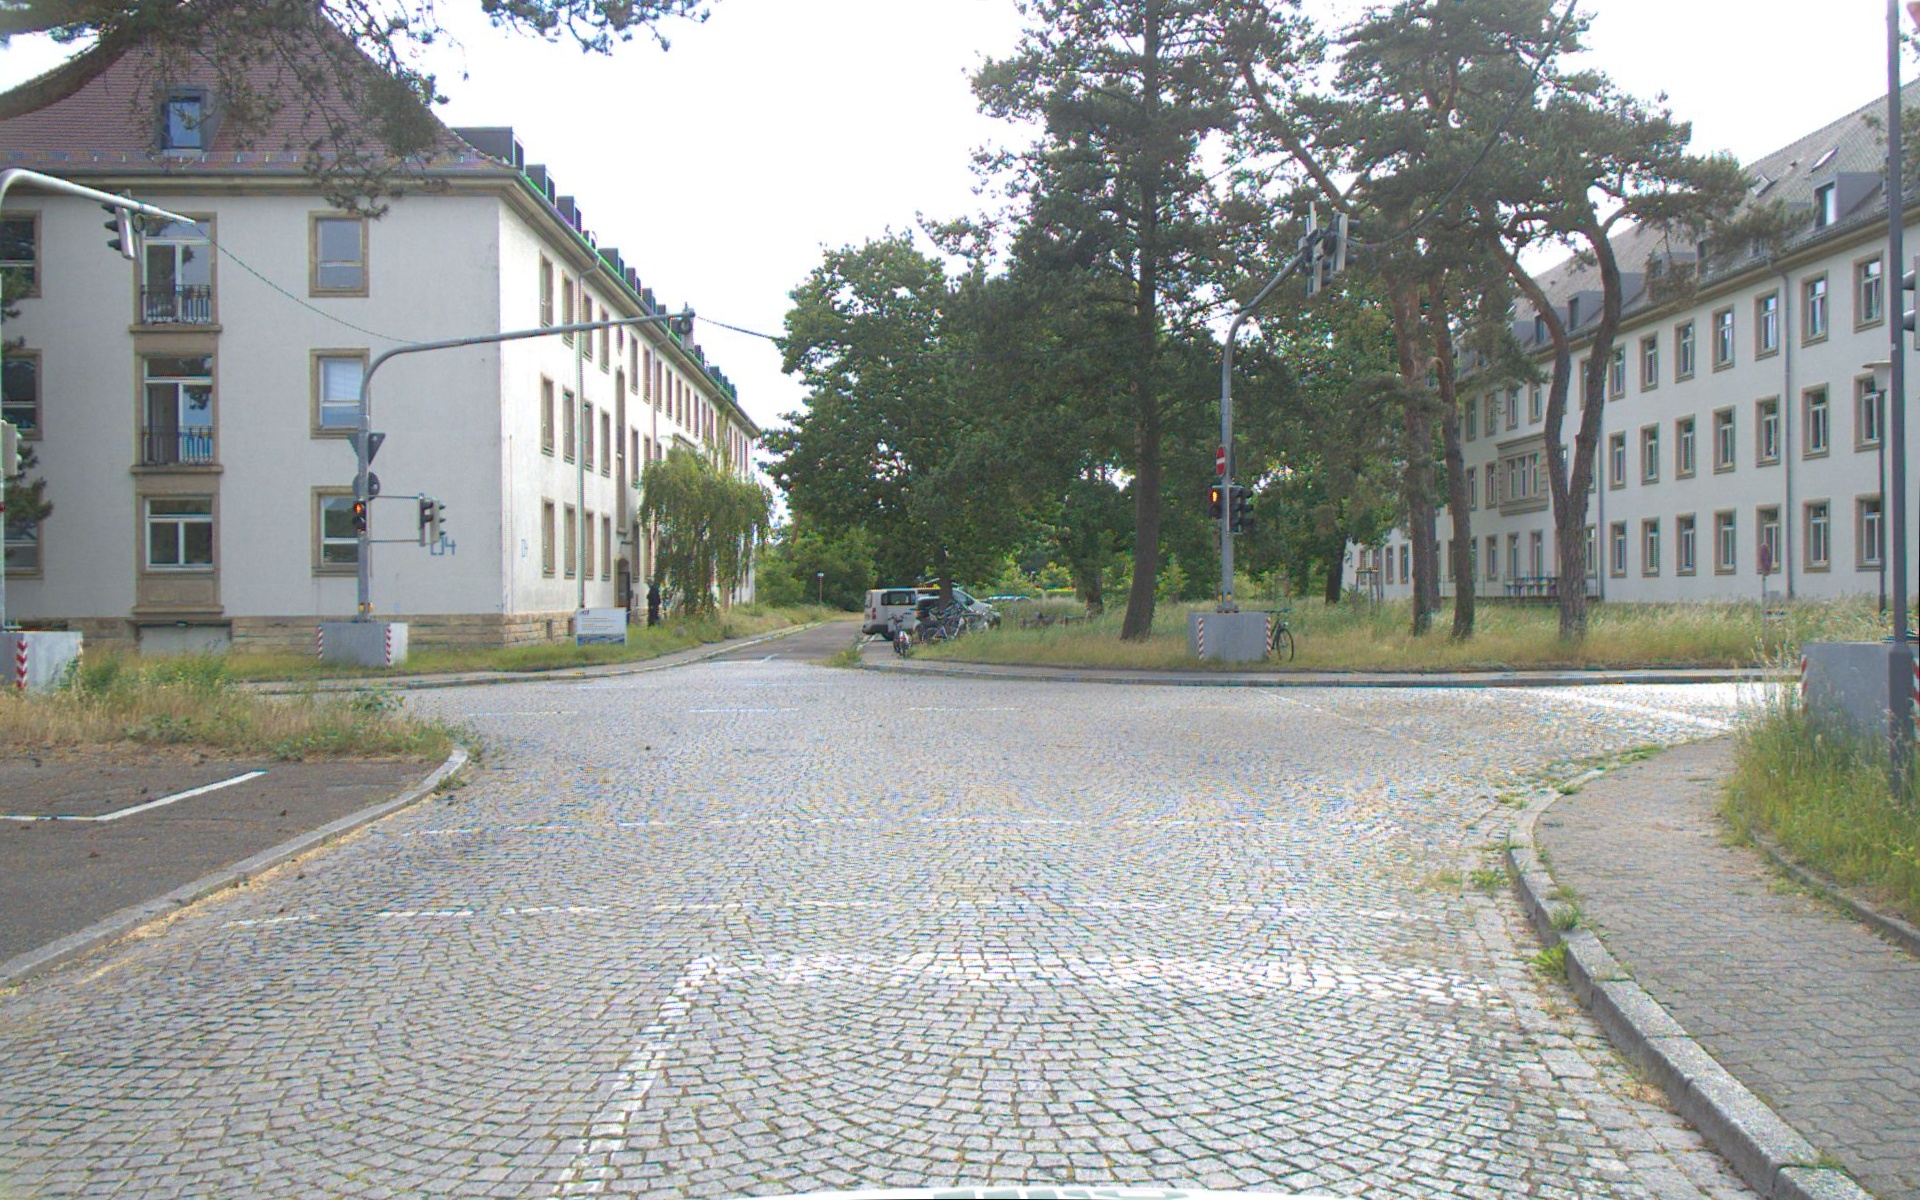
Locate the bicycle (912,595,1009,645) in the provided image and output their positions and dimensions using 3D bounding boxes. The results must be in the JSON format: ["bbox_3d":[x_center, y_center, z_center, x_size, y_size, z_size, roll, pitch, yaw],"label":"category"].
[{"bbox_3d":[0.002,0.569,47.385,2.746,1.396,0.950,-1,0,-3],"label":"bicycle"}]

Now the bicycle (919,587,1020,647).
[{"bbox_3d":[0.242,0.466,45.928,2.746,1.611,0.950,-1,0,-3],"label":"bicycle"}]

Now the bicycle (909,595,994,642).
[{"bbox_3d":[-0.270,0.555,50.072,2.517,1.396,0.950,-1,0,-3],"label":"bicycle"}]

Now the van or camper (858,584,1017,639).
[{"bbox_3d":[-0.870,0.409,62.532,5.645,1.991,2.229,-1,0,-15],"label":"van or camper"}]

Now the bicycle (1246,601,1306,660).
[{"bbox_3d":[6.198,0.587,32.557,0.632,1.081,1.832,-4,0,-5],"label":"bicycle"}]

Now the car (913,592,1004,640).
[{"bbox_3d":[-0.083,0.576,59.047,3.160,1.649,1.936,1,-1,-3],"label":"car"}]

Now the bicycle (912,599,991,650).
[{"bbox_3d":[-0.235,0.658,44.429,2.070,1.329,0.874,-1,0,-3],"label":"bicycle"}]

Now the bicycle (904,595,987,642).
[{"bbox_3d":[-0.457,0.558,50.904,2.517,1.396,0.950,-1,0,-3],"label":"bicycle"}]

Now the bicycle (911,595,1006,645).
[{"bbox_3d":[-0.055,0.574,48.276,2.746,1.396,0.950,-1,0,-3],"label":"bicycle"}]

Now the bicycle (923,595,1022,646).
[{"bbox_3d":[0.339,0.569,46.862,2.746,1.396,0.950,-1,0,-3],"label":"bicycle"}]

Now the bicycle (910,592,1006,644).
[{"bbox_3d":[-0.070,0.485,45.047,2.566,1.391,0.874,-1,0,-3],"label":"bicycle"}]

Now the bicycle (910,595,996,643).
[{"bbox_3d":[-0.230,0.550,49.234,2.517,1.396,0.950,-1,0,-3],"label":"bicycle"}]

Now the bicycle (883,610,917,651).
[{"bbox_3d":[-1.550,0.790,43.095,0.712,1.014,1.979,-1,0,3],"label":"bicycle"}]

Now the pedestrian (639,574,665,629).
[{"bbox_3d":[-11.183,0.072,60.081,0.850,1.966,0.834,1,-1,-13],"label":"pedestrian"}]

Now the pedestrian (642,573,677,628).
[{"bbox_3d":[-10.791,0.024,59.310,1.173,1.903,1.545,1,-1,-12],"label":"pedestrian"}]

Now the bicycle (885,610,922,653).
[{"bbox_3d":[-1.410,0.777,41.007,0.882,1.014,1.978,-1,0,-3],"label":"bicycle"}]
